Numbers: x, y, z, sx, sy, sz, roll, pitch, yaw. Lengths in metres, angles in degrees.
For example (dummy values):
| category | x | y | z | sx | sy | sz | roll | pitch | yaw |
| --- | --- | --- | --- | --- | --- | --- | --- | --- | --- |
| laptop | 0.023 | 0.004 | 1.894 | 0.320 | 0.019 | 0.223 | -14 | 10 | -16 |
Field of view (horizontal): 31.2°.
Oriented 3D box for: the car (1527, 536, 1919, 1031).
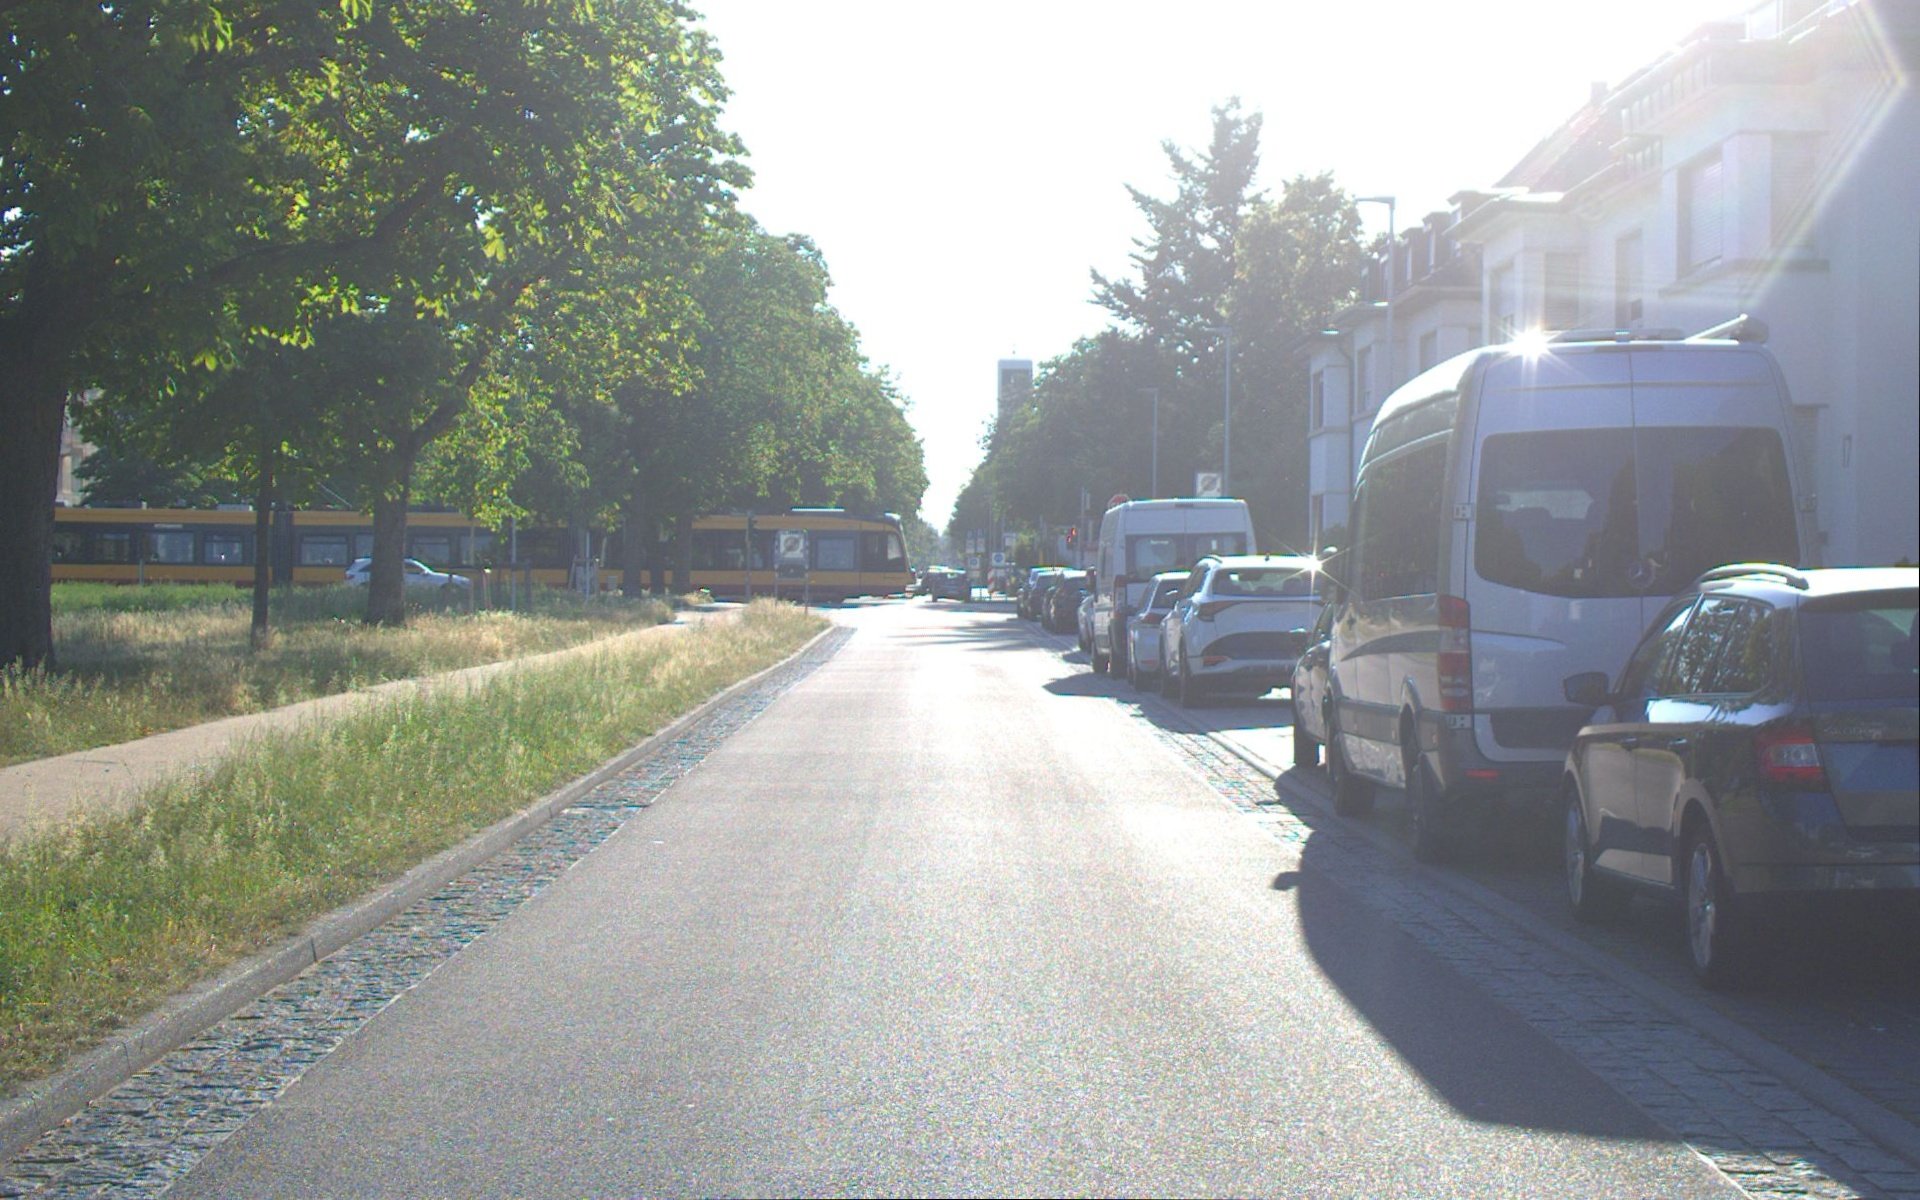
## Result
| category | x | y | z | sx | sy | sz | roll | pitch | yaw |
| --- | --- | --- | --- | --- | --- | --- | --- | --- | --- |
| car | 3.367 | 0.557 | 13.181 | 1.663 | 1.587 | 4.086 | -2 | 1 | 0 |

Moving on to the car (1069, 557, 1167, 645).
| category | x | y | z | sx | sy | sz | roll | pitch | yaw |
| --- | --- | --- | --- | --- | --- | --- | --- | --- | --- |
| car | 2.839 | 0.000 | 62.364 | 1.650 | 1.525 | 3.851 | 0 | 1 | 1 |

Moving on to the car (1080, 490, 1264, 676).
| category | x | y | z | sx | sy | sz | roll | pitch | yaw |
| --- | --- | --- | --- | --- | --- | --- | --- | --- | --- |
| car | 3.002 | -0.270 | 49.720 | 2.126 | 2.524 | 5.189 | -1 | 1 | -2 |

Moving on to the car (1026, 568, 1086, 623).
| category | x | y | z | sx | sy | sz | roll | pitch | yaw |
| --- | --- | --- | --- | --- | --- | --- | --- | --- | --- |
| car | 2.737 | -0.138 | 98.558 | 1.650 | 1.525 | 3.851 | 0 | 1 | 1 |

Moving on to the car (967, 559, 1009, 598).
| category | x | y | z | sx | sy | sz | roll | pitch | yaw |
| --- | --- | --- | --- | --- | --- | --- | --- | --- | --- |
| car | 1.117 | -0.858 | 137.333 | 1.650 | 1.525 | 3.851 | 0 | 1 | 1 |

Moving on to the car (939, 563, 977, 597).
| category | x | y | z | sx | sy | sz | roll | pitch | yaw |
| --- | --- | --- | --- | --- | --- | --- | --- | --- | --- |
| car | -0.080 | -0.919 | 155.785 | 1.650 | 1.525 | 3.851 | 0 | 1 | 1 |

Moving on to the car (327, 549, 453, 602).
| category | x | y | z | sx | sy | sz | roll | pitch | yaw |
| --- | --- | --- | --- | --- | --- | --- | --- | --- | --- |
| car | -20.336 | -0.872 | 122.743 | 4.345 | 1.758 | 2.000 | 2 | 0 | -8 |

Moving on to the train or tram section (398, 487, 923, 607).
| category | x | y | z | sx | sy | sz | roll | pitch | yaw |
| --- | --- | --- | --- | --- | --- | --- | --- | --- | --- |
| train or tram section | -11.508 | -2.004 | 132.734 | 19.779 | 3.943 | 3.644 | 2 | 0 | -5 |

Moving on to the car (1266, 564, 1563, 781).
| category | x | y | z | sx | sy | sz | roll | pitch | yaw |
| --- | --- | --- | --- | --- | --- | --- | --- | --- | --- |
| car | 3.299 | 0.491 | 25.594 | 1.621 | 1.406 | 3.968 | -3 | 0 | 0 |

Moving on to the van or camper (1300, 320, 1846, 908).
| category | x | y | z | sx | sy | sz | roll | pitch | yaw |
| --- | --- | --- | --- | --- | --- | --- | --- | --- | --- |
| van or camper | 3.238 | 0.070 | 19.488 | 1.943 | 2.768 | 5.940 | 2 | 0 | 0 |

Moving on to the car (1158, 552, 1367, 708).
| category | x | y | z | sx | sy | sz | roll | pitch | yaw |
| --- | --- | --- | --- | --- | --- | --- | --- | --- | --- |
| car | 3.309 | 0.284 | 38.297 | 1.837 | 1.630 | 4.132 | -1 | 1 | -2 |

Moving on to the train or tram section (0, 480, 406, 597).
| category | x | y | z | sx | sy | sz | roll | pitch | yaw |
| --- | --- | --- | --- | --- | --- | --- | --- | --- | --- |
| train or tram section | -30.869 | -2.377 | 130.735 | 19.069 | 3.943 | 3.644 | 2 | 0 | -6 |

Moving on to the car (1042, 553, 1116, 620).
| category | x | y | z | sx | sy | sz | roll | pitch | yaw |
| --- | --- | --- | --- | --- | --- | --- | --- | --- | --- |
| car | 2.798 | -0.346 | 81.464 | 1.650 | 1.525 | 3.851 | 0 | 1 | 1 |

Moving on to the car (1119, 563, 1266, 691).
| category | x | y | z | sx | sy | sz | roll | pitch | yaw |
| --- | --- | --- | --- | --- | --- | --- | --- | --- | --- |
| car | 2.896 | 0.305 | 43.399 | 1.650 | 1.525 | 3.851 | 0 | 1 | 1 |
